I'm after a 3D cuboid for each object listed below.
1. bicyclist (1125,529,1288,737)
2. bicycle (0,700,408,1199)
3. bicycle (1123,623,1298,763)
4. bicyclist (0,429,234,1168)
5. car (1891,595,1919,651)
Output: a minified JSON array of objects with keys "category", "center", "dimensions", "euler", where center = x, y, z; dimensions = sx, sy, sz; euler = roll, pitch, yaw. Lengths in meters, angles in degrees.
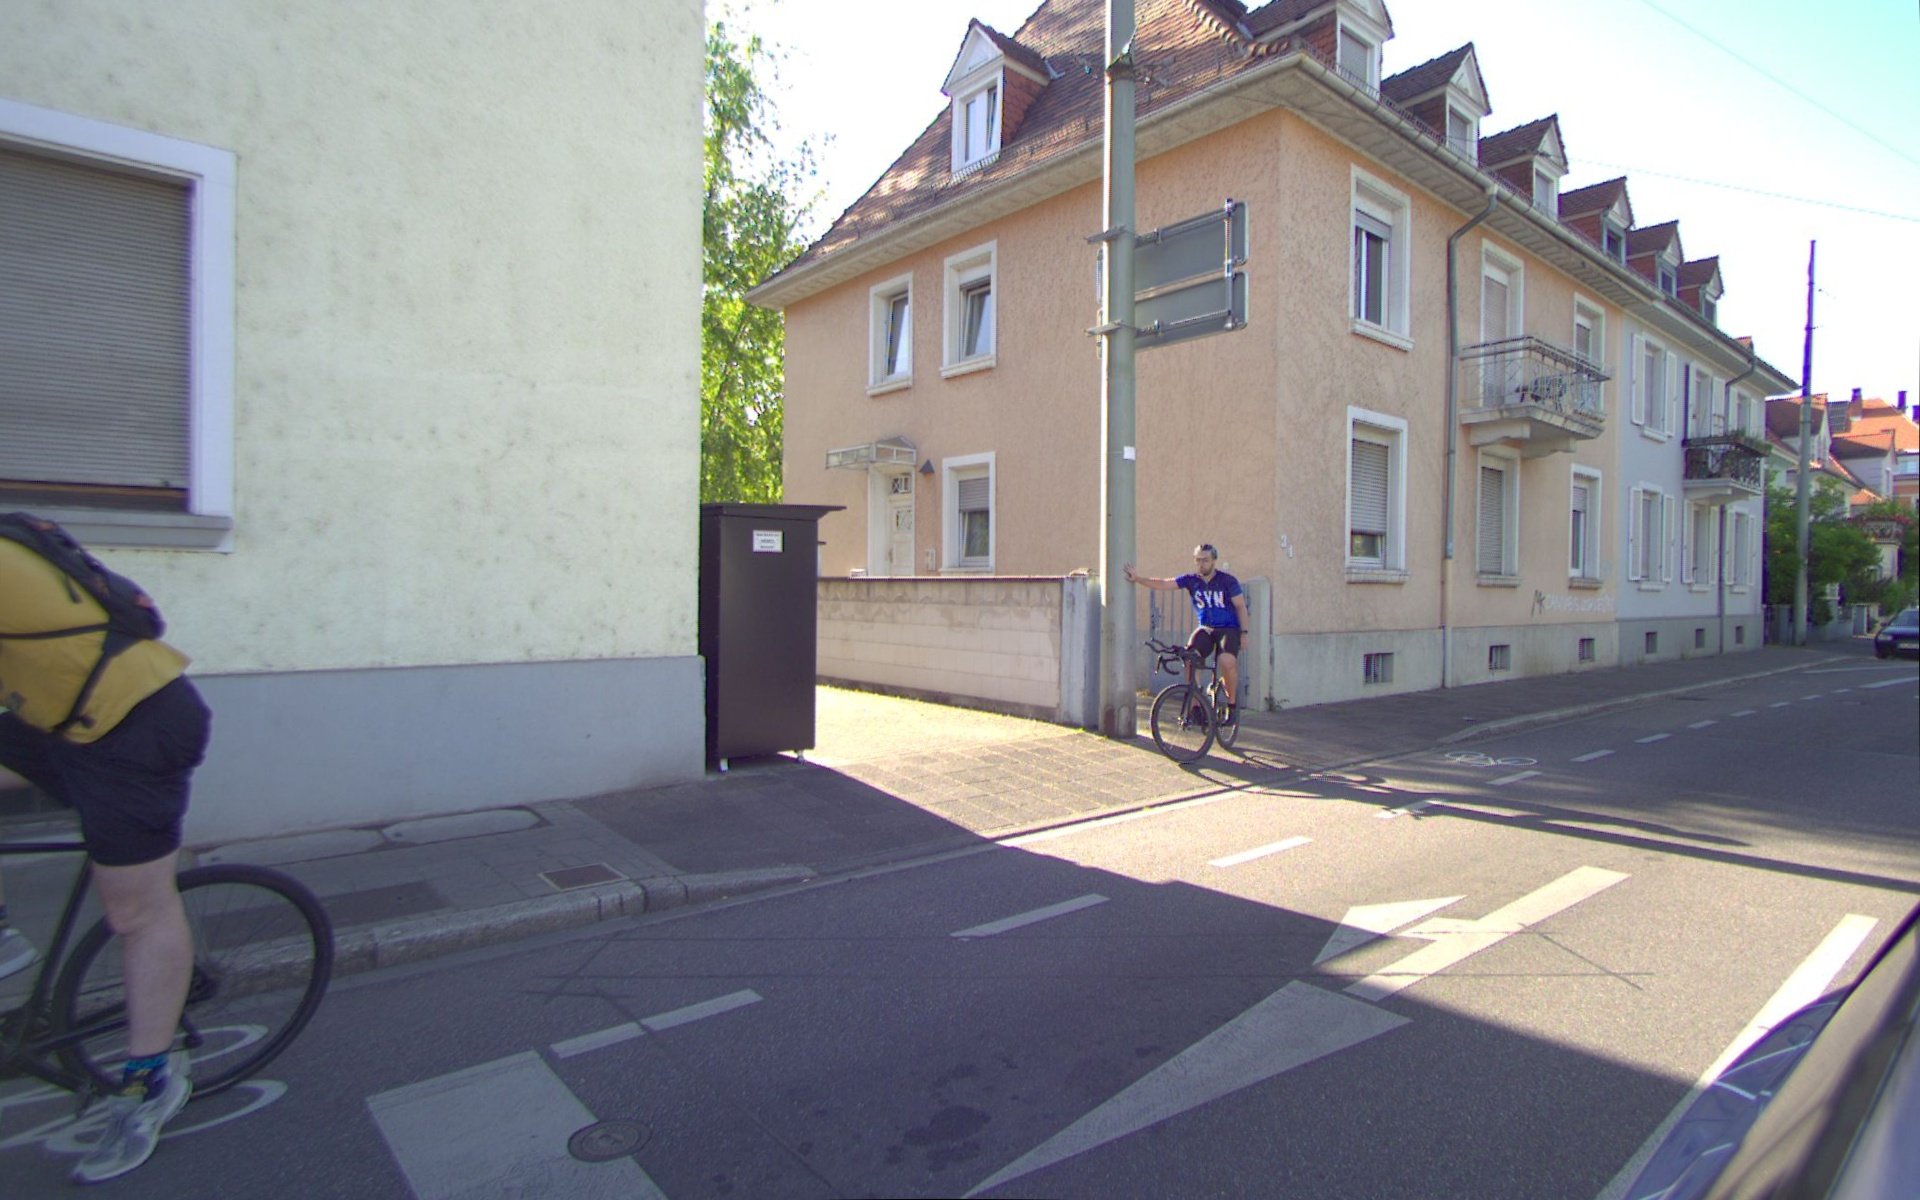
[{"category":"bicyclist","center":[2.291,0.266,9.476],"dimensions":[0.838,1.758,1.072],"euler":[0,6,-40]},{"category":"bicycle","center":[-2.467,0.896,2.576],"dimensions":[1.778,1.101,0.611],"euler":[0,1,-41]},{"category":"bicycle","center":[2.298,0.794,9.182],"dimensions":[1.689,1.064,0.595],"euler":[0,6,-41]},{"category":"bicyclist","center":[-2.465,0.464,2.588],"dimensions":[0.939,1.743,0.582],"euler":[0,0,-41]},{"category":"car","center":[26.640,0.611,27.326],"dimensions":[3.932,1.438,1.845],"euler":[0,1,-42]}]
